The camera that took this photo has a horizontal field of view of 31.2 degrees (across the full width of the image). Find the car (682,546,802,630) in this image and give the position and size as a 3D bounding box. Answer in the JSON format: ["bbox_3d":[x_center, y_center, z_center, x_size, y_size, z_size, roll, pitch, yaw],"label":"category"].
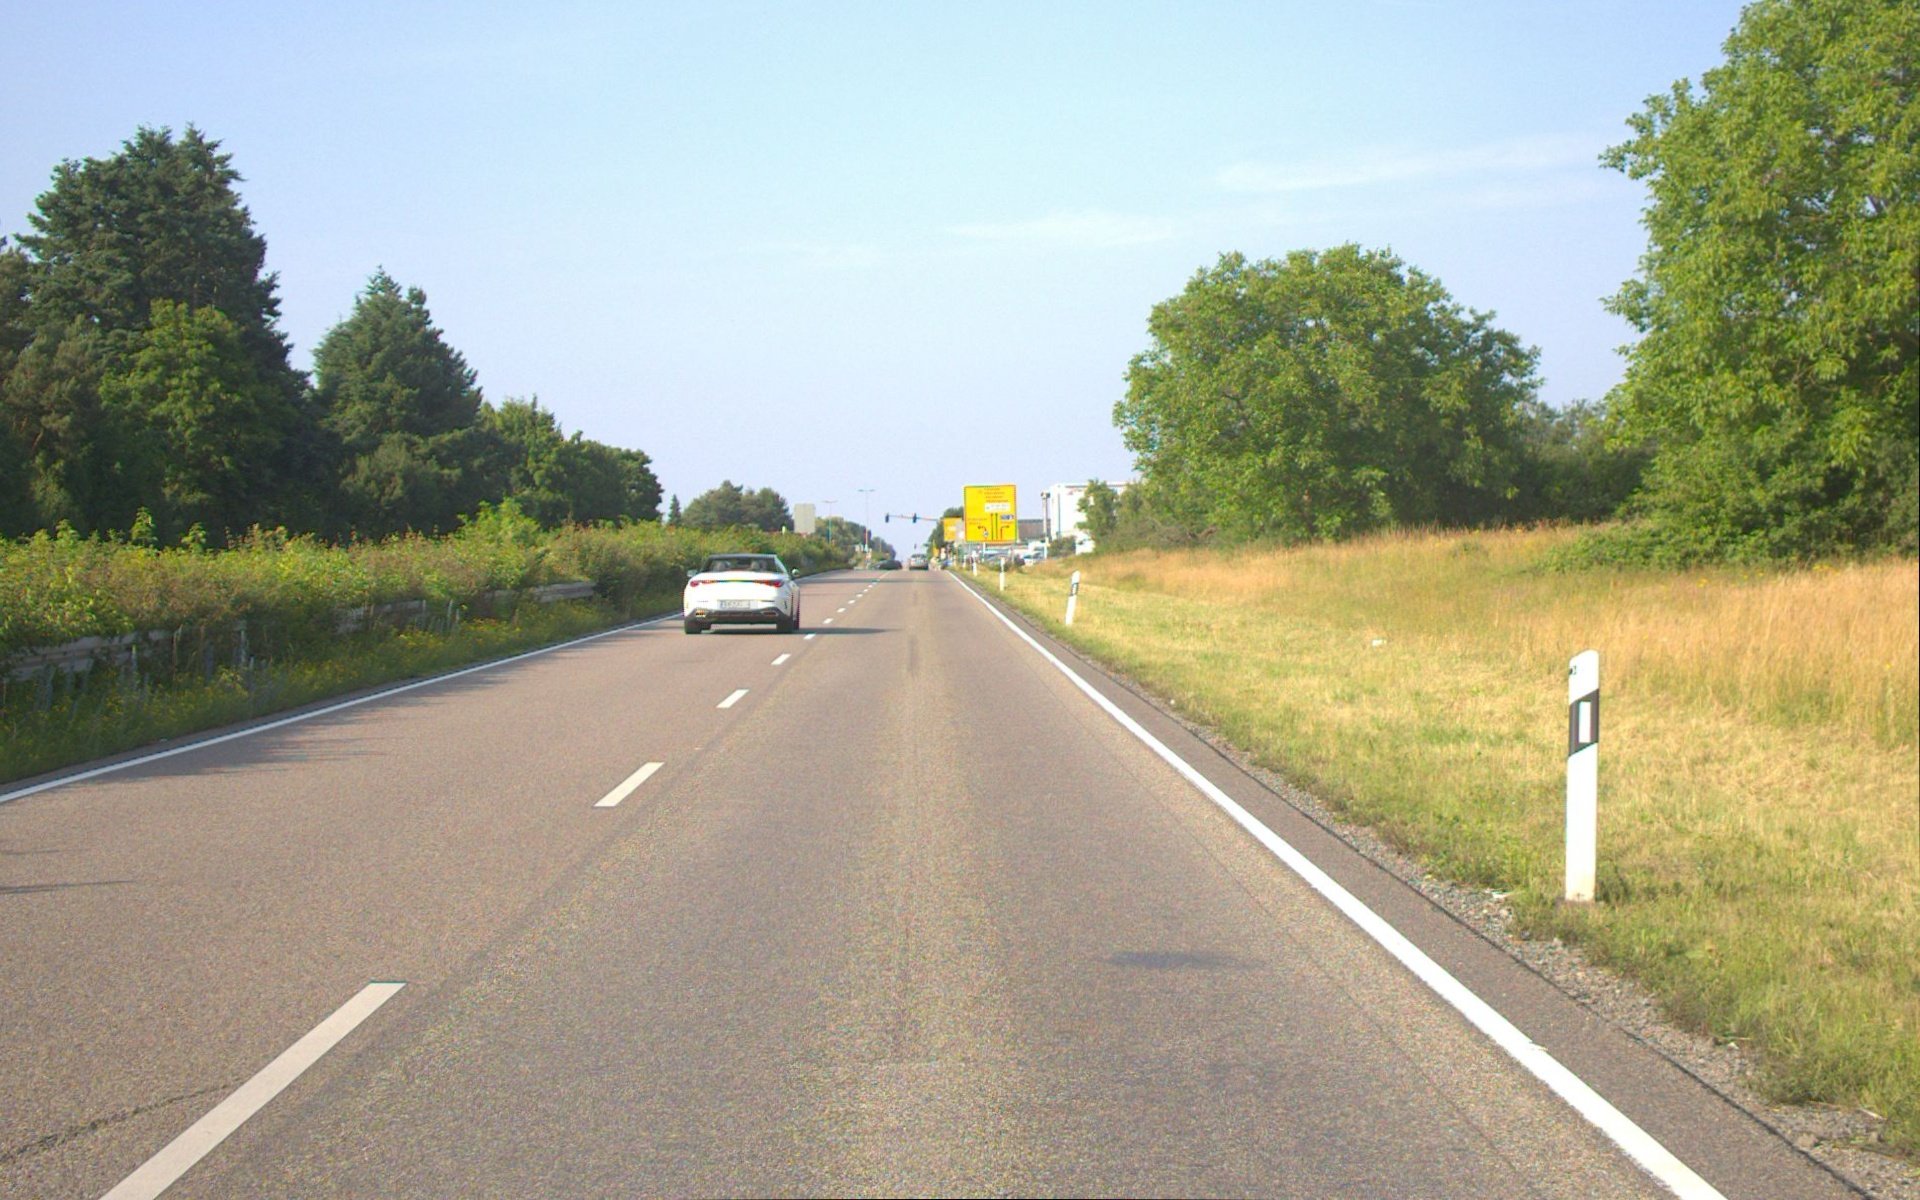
[{"bbox_3d":[-3.754,-0.226,59.770,1.909,1.417,4.000,0,1,-1],"label":"car"}]
